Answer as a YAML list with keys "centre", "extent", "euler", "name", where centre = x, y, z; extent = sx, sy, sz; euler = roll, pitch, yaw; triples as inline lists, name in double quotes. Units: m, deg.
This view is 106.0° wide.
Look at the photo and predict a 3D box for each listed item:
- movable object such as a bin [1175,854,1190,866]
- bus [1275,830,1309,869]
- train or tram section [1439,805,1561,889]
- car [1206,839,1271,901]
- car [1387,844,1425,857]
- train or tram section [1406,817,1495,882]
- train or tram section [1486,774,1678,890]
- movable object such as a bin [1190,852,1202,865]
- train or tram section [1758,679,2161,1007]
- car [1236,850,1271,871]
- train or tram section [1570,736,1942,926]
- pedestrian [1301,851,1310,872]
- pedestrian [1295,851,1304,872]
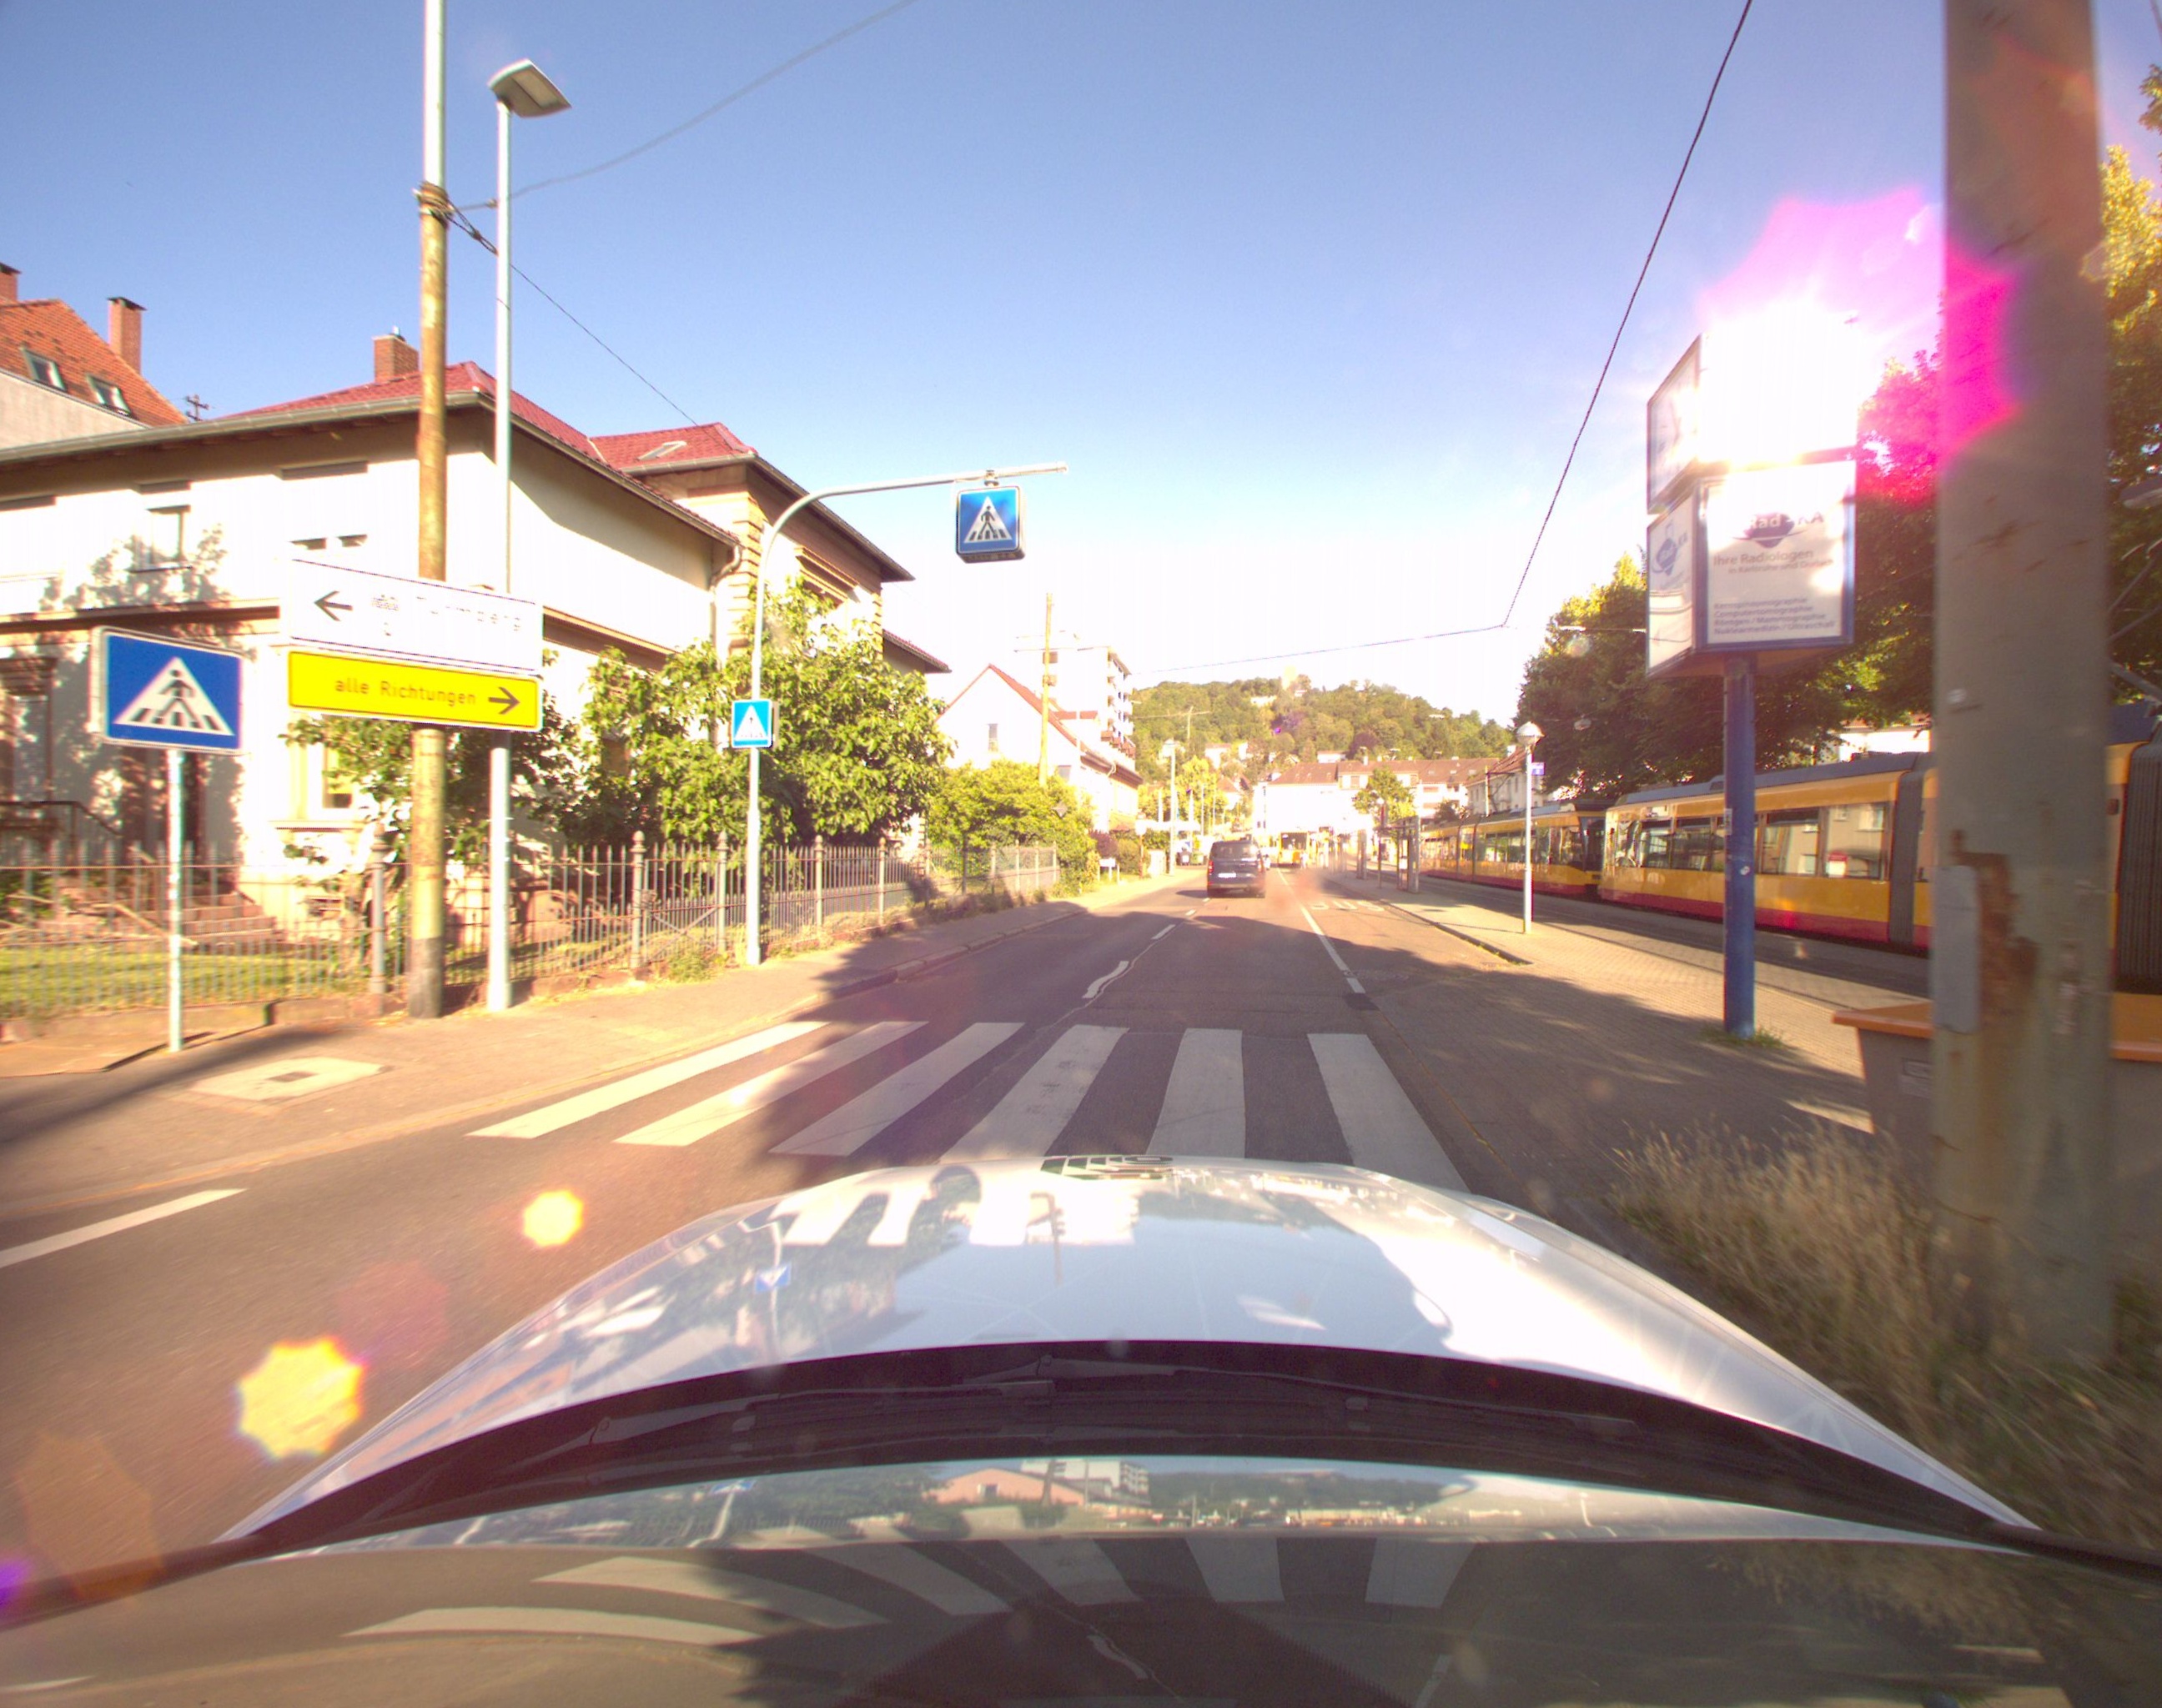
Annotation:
- centre: [10.211, 0.596, 81.641]
  extent: [1.421, 1.228, 0.960]
  euler: [0, -1, 1]
  name: "movable object such as a bin"
- centre: [19.472, -0.348, 75.540]
  extent: [2.686, 3.291, 10.245]
  euler: [0, 0, 12]
  name: "bus"
- centre: [20.077, -0.346, 39.769]
  extent: [2.757, 3.555, 9.952]
  euler: [0, 0, 12]
  name: "train or tram section"
- centre: [5.678, 0.511, 29.042]
  extent: [1.979, 2.013, 4.016]
  euler: [1, 0, 15]
  name: "car"
- centre: [49.143, -0.509, 123.380]
  extent: [5.173, 2.014, 2.008]
  euler: [0, -1, 16]
  name: "car"
- centre: [22.173, -0.281, 49.484]
  extent: [2.757, 3.555, 9.952]
  euler: [0, 0, 12]
  name: "train or tram section"
- centre: [17.859, -0.720, 30.041]
  extent: [2.757, 3.555, 9.951]
  euler: [0, 0, 11]
  name: "train or tram section"
- centre: [11.554, 0.482, 81.800]
  extent: [1.032, 1.303, 0.960]
  euler: [0, -1, 1]
  name: "movable object such as a bin"
- centre: [13.505, -0.130, 10.647]
  extent: [2.757, 3.555, 9.951]
  euler: [0, 0, 11]
  name: "train or tram section"
- centre: [14.137, 0.524, 66.924]
  extent: [1.987, 1.717, 4.000]
  euler: [0, 0, 0]
  name: "car"
- centre: [15.697, -0.476, 20.342]
  extent: [2.757, 3.555, 9.951]
  euler: [0, 0, 11]
  name: "train or tram section"
- centre: [18.971, 0.623, 68.724]
  extent: [0.547, 1.767, 0.546]
  euler: [1, -1, -39]
  name: "pedestrian"
- centre: [18.577, 0.624, 69.174]
  extent: [0.547, 1.767, 0.546]
  euler: [1, -1, -39]
  name: "pedestrian"
